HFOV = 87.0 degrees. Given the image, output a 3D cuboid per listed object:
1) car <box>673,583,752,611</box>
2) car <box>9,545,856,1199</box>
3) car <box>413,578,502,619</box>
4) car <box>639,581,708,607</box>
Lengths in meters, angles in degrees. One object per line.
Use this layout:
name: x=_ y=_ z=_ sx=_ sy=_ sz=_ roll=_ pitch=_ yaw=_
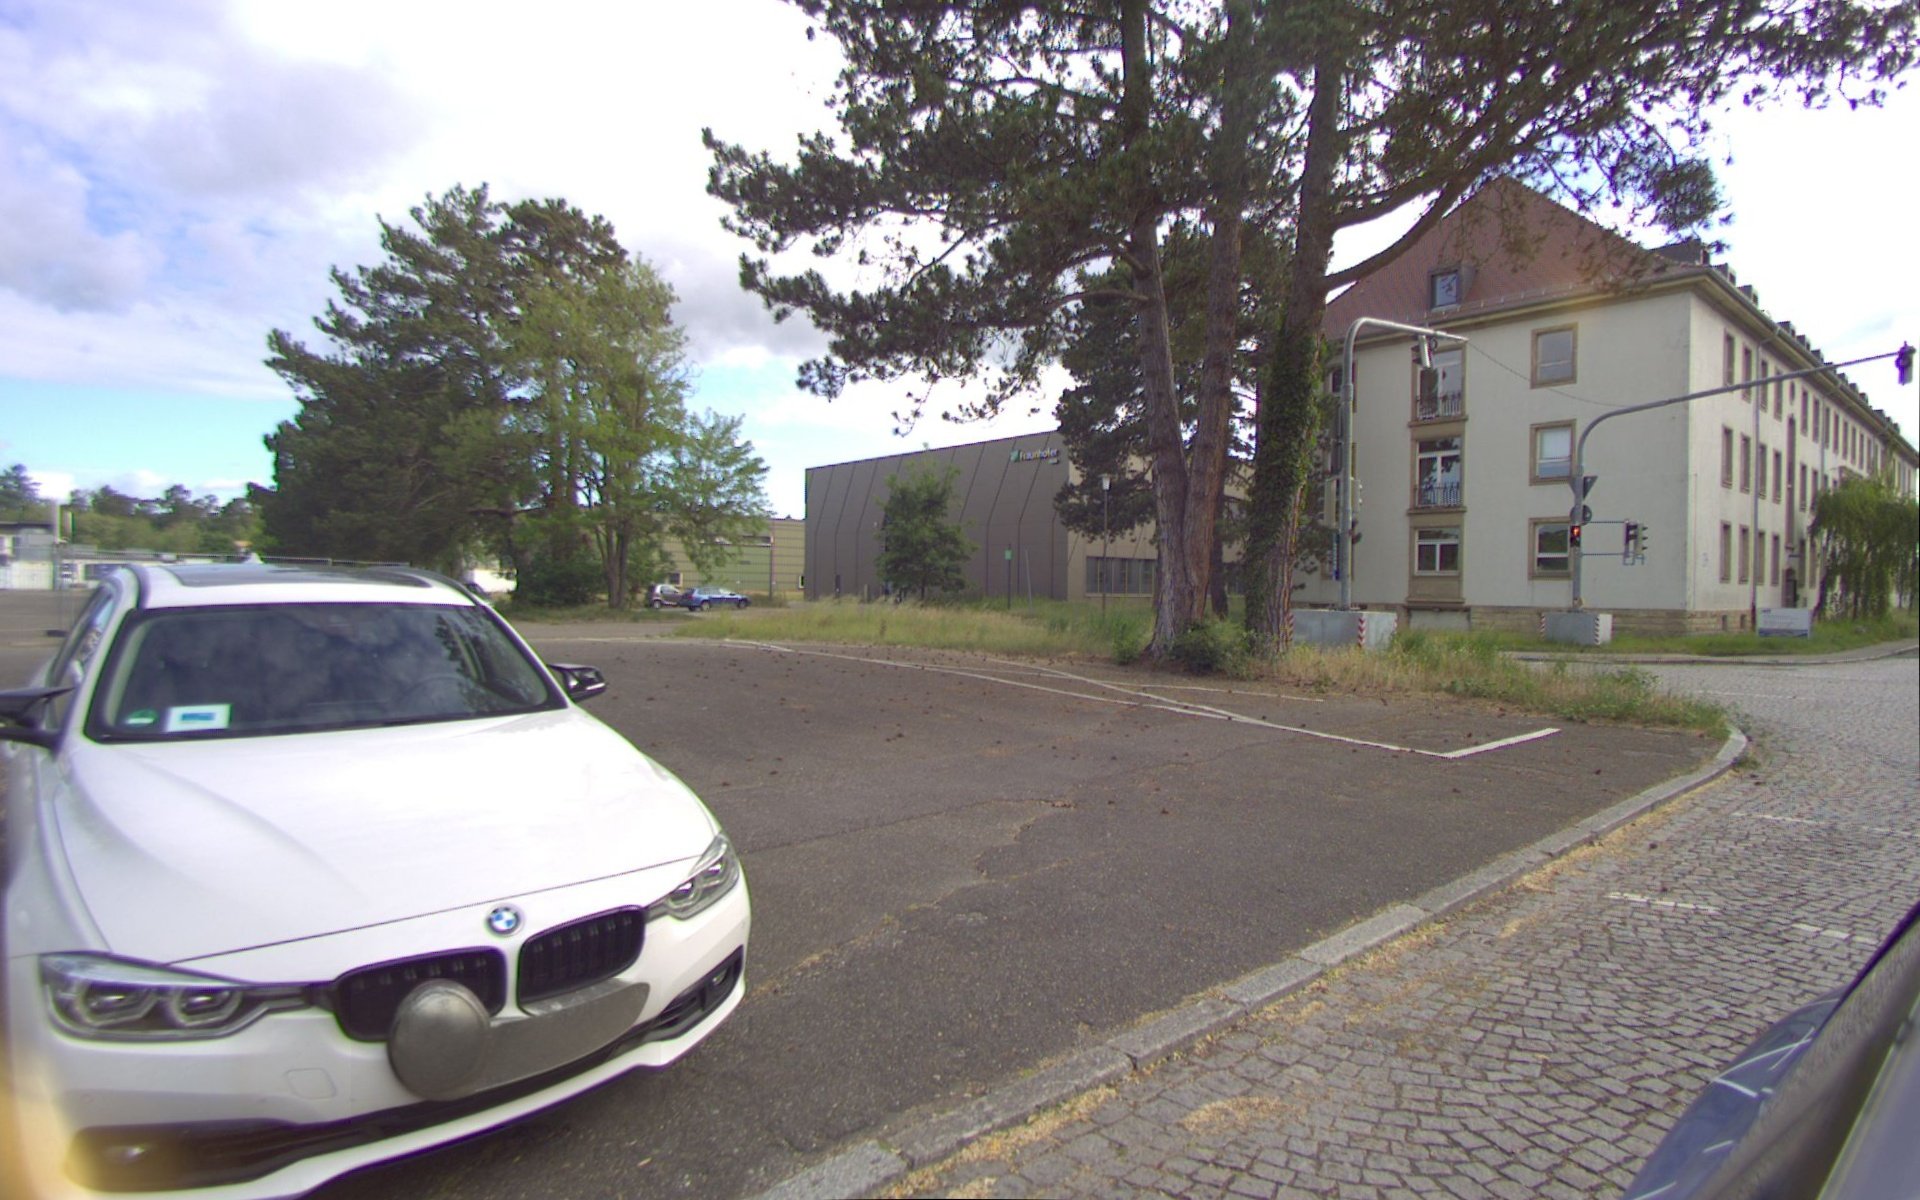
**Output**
car: x=-15.176 y=-0.203 z=62.159 sx=4.346 sy=1.481 sz=1.834 roll=-3 pitch=3 yaw=-44
car: x=-2.528 y=0.587 z=4.007 sx=1.797 sy=1.442 sz=4.556 roll=-1 pitch=4 yaw=-43
car: x=-19.376 y=-0.078 z=38.953 sx=1.834 sy=1.493 sz=4.140 roll=1 pitch=1 yaw=-45
car: x=-19.348 y=-0.445 z=68.373 sx=4.127 sy=1.606 sz=1.834 roll=-3 pitch=3 yaw=-44
